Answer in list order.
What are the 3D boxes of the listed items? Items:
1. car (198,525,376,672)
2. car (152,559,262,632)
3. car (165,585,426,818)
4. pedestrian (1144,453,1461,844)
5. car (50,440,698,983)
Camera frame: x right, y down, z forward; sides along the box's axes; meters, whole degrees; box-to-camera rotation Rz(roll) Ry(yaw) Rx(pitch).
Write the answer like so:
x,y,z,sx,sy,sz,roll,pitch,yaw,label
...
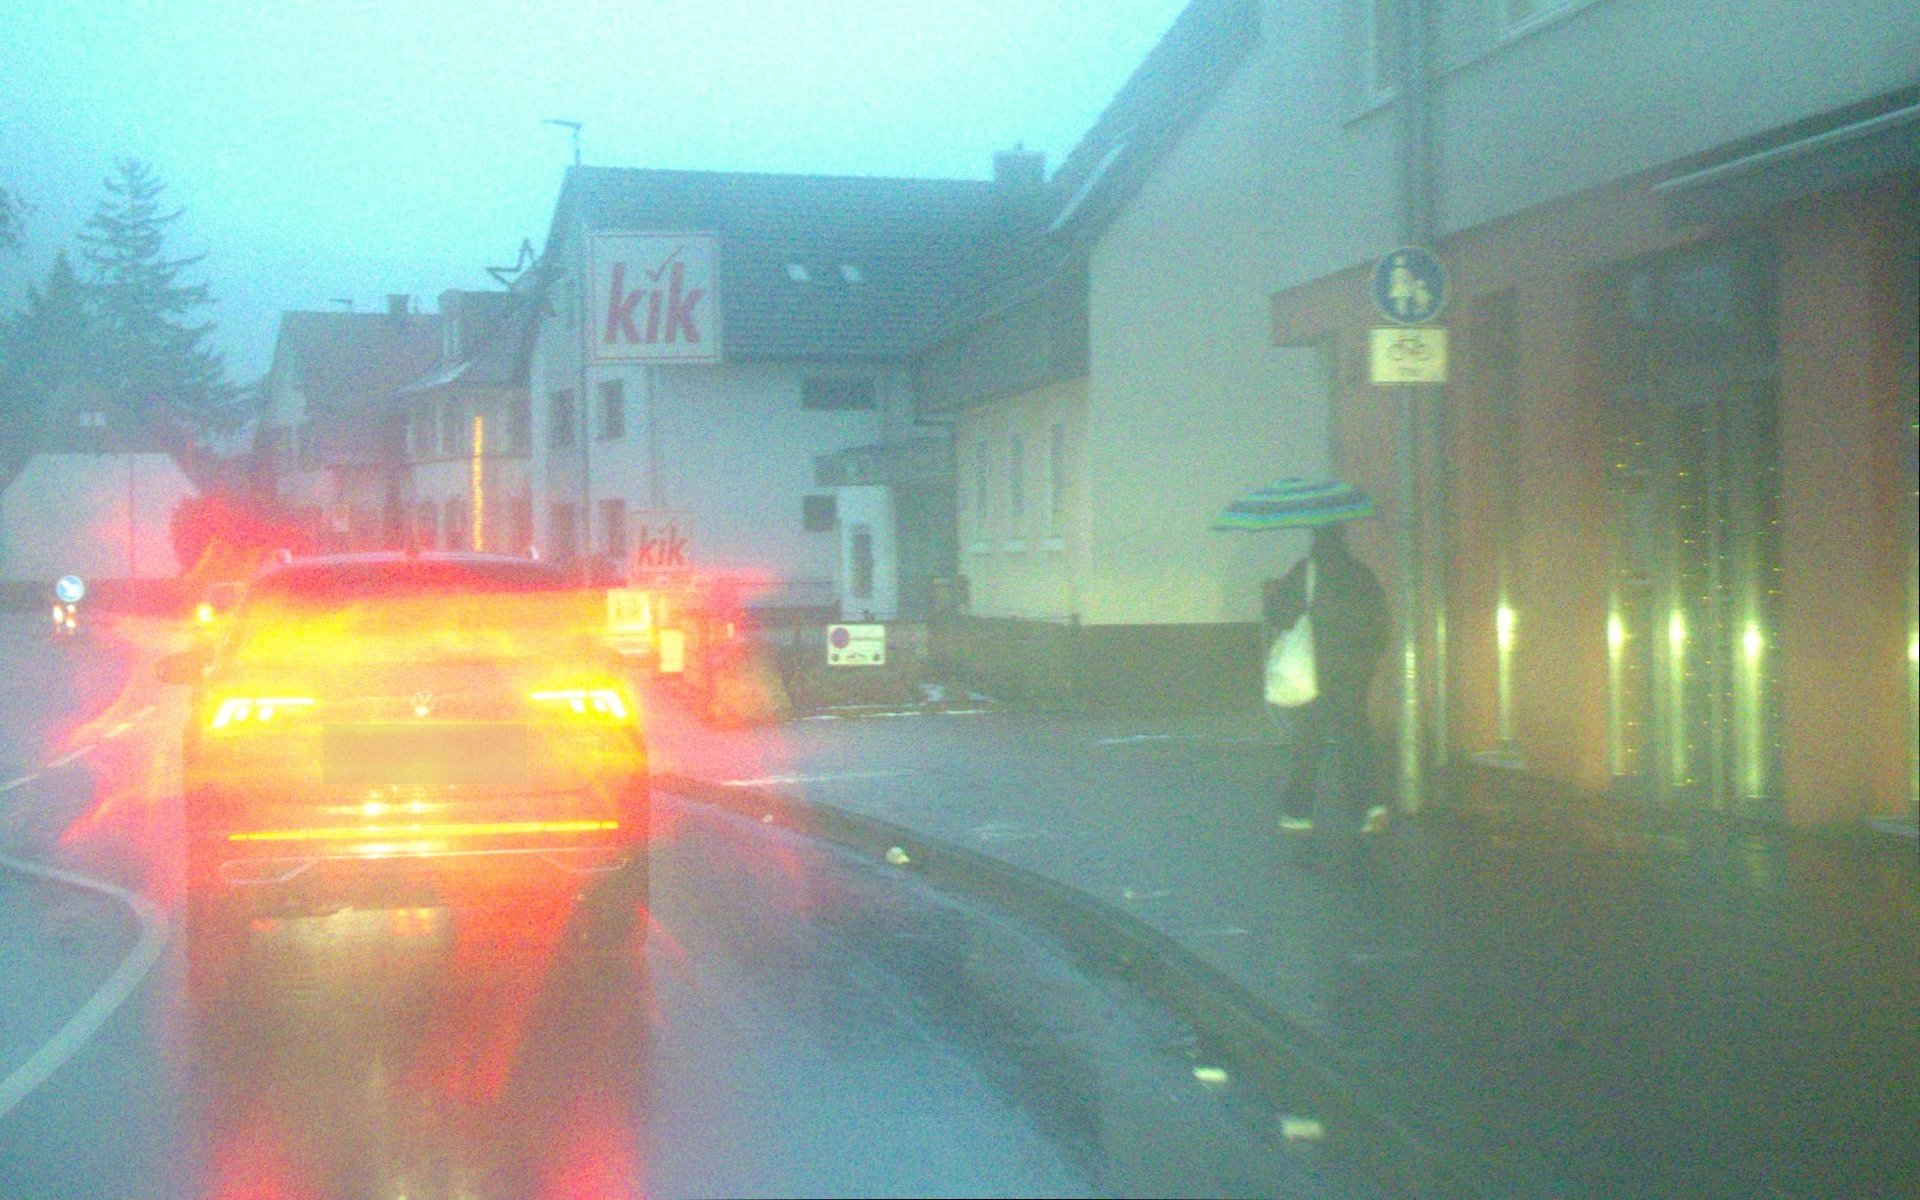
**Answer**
x,y,z,sx,sy,sz,roll,pitch,yaw,label
-9.509,-0.031,48.751,2.309,1.932,5.019,-1,0,-10,car
-14.688,-0.101,66.920,1.842,1.327,3.939,-2,1,-16,car
-5.232,0.723,26.889,1.857,1.642,4.001,0,1,-12,car
1.715,0.226,17.478,1.254,1.859,1.303,-3,1,-8,pedestrian
-2.539,0.394,15.107,2.309,1.932,5.019,-1,0,-9,car
